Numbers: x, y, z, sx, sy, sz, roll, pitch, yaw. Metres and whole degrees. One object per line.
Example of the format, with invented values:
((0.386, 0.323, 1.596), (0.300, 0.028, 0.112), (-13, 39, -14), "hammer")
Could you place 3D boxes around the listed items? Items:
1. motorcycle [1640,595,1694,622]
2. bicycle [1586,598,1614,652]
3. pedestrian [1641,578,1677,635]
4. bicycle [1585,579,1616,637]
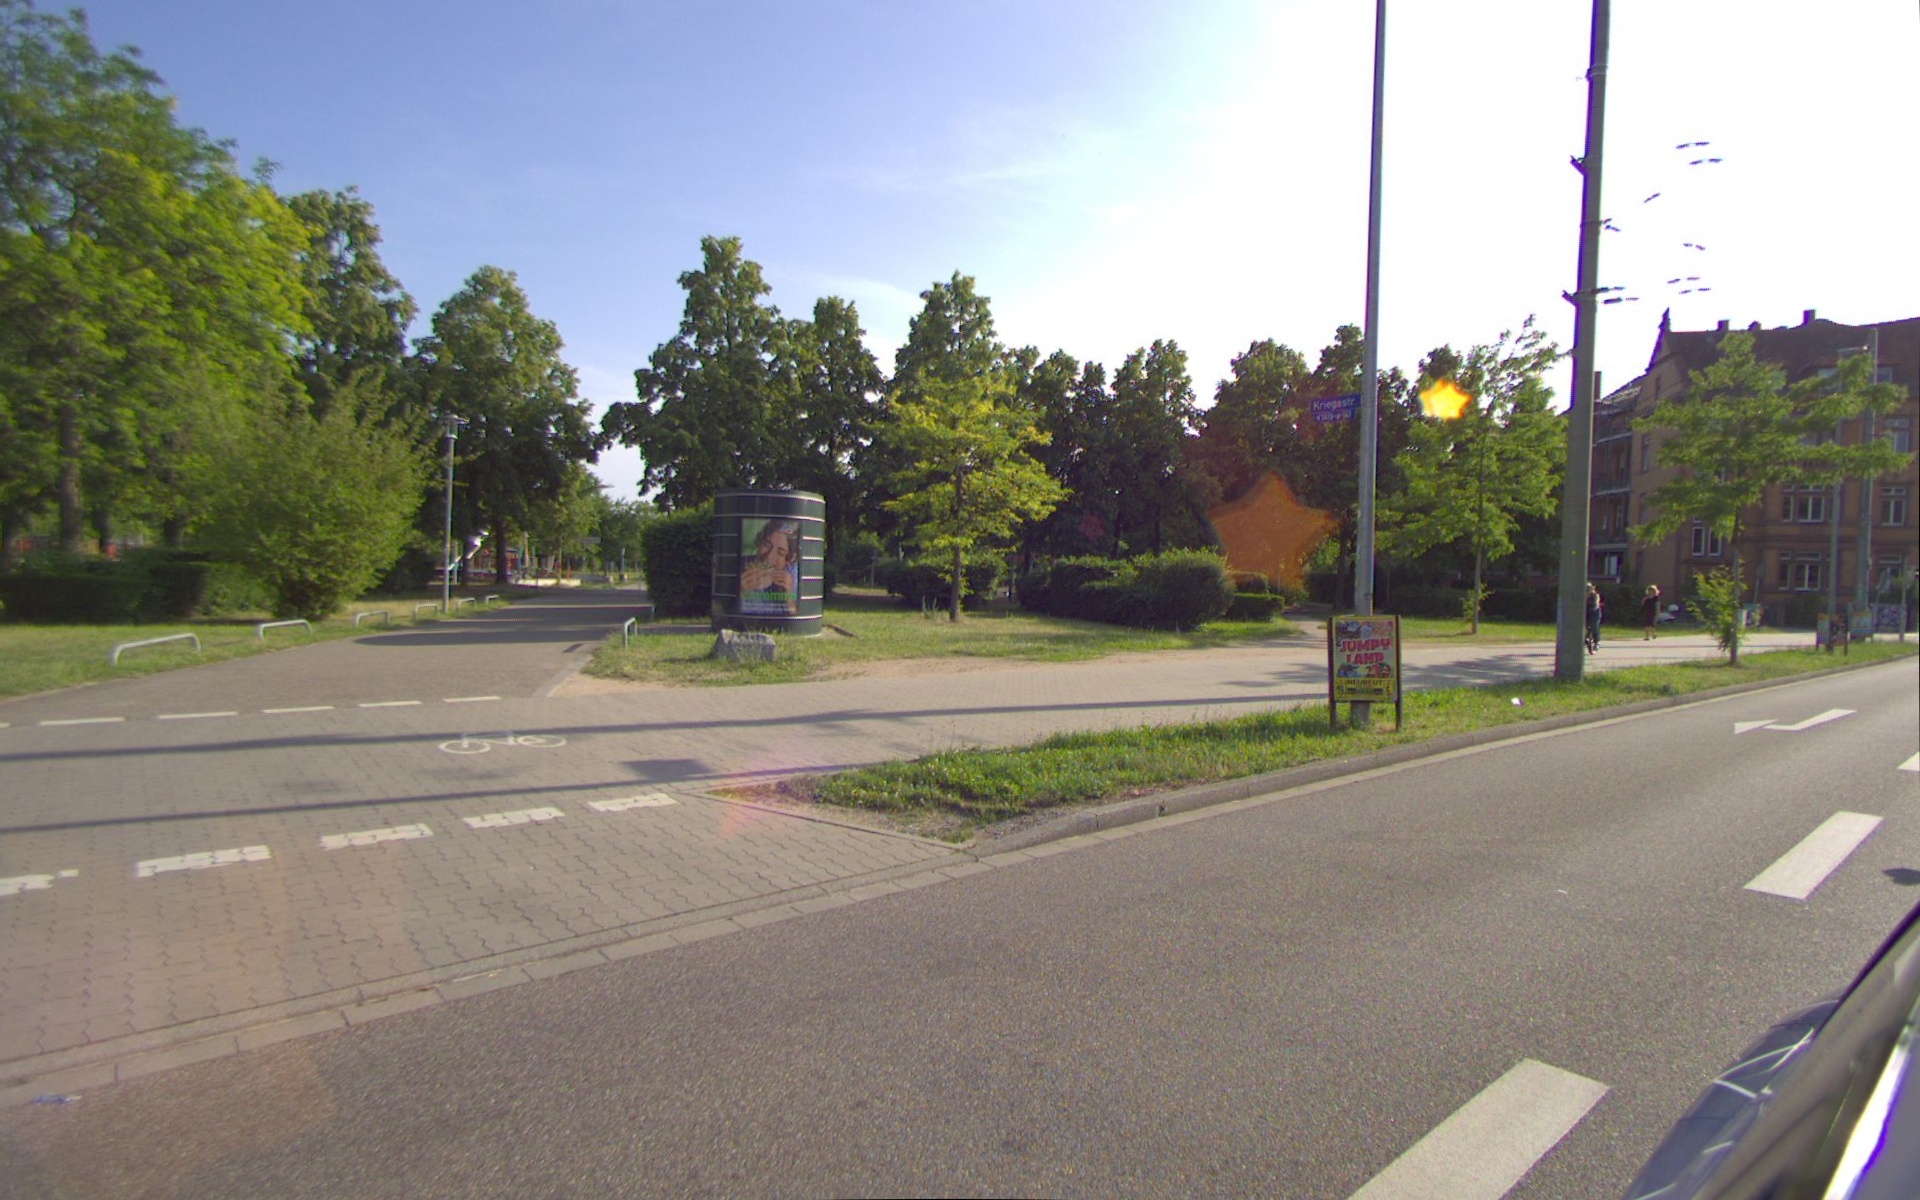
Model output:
((33.294, 0.389, 47.691), (1.997, 1.174, 0.696), (2, 1, 45), "motorcycle")
((14.753, 0.557, 23.327), (0.481, 1.205, 1.324), (1, 0, 31), "bicycle")
((22.071, 0.192, 31.948), (0.538, 1.711, 0.617), (1, 6, -37), "pedestrian")
((14.788, 0.175, 23.370), (0.570, 1.314, 0.680), (1, 0, 31), "bicycle")
